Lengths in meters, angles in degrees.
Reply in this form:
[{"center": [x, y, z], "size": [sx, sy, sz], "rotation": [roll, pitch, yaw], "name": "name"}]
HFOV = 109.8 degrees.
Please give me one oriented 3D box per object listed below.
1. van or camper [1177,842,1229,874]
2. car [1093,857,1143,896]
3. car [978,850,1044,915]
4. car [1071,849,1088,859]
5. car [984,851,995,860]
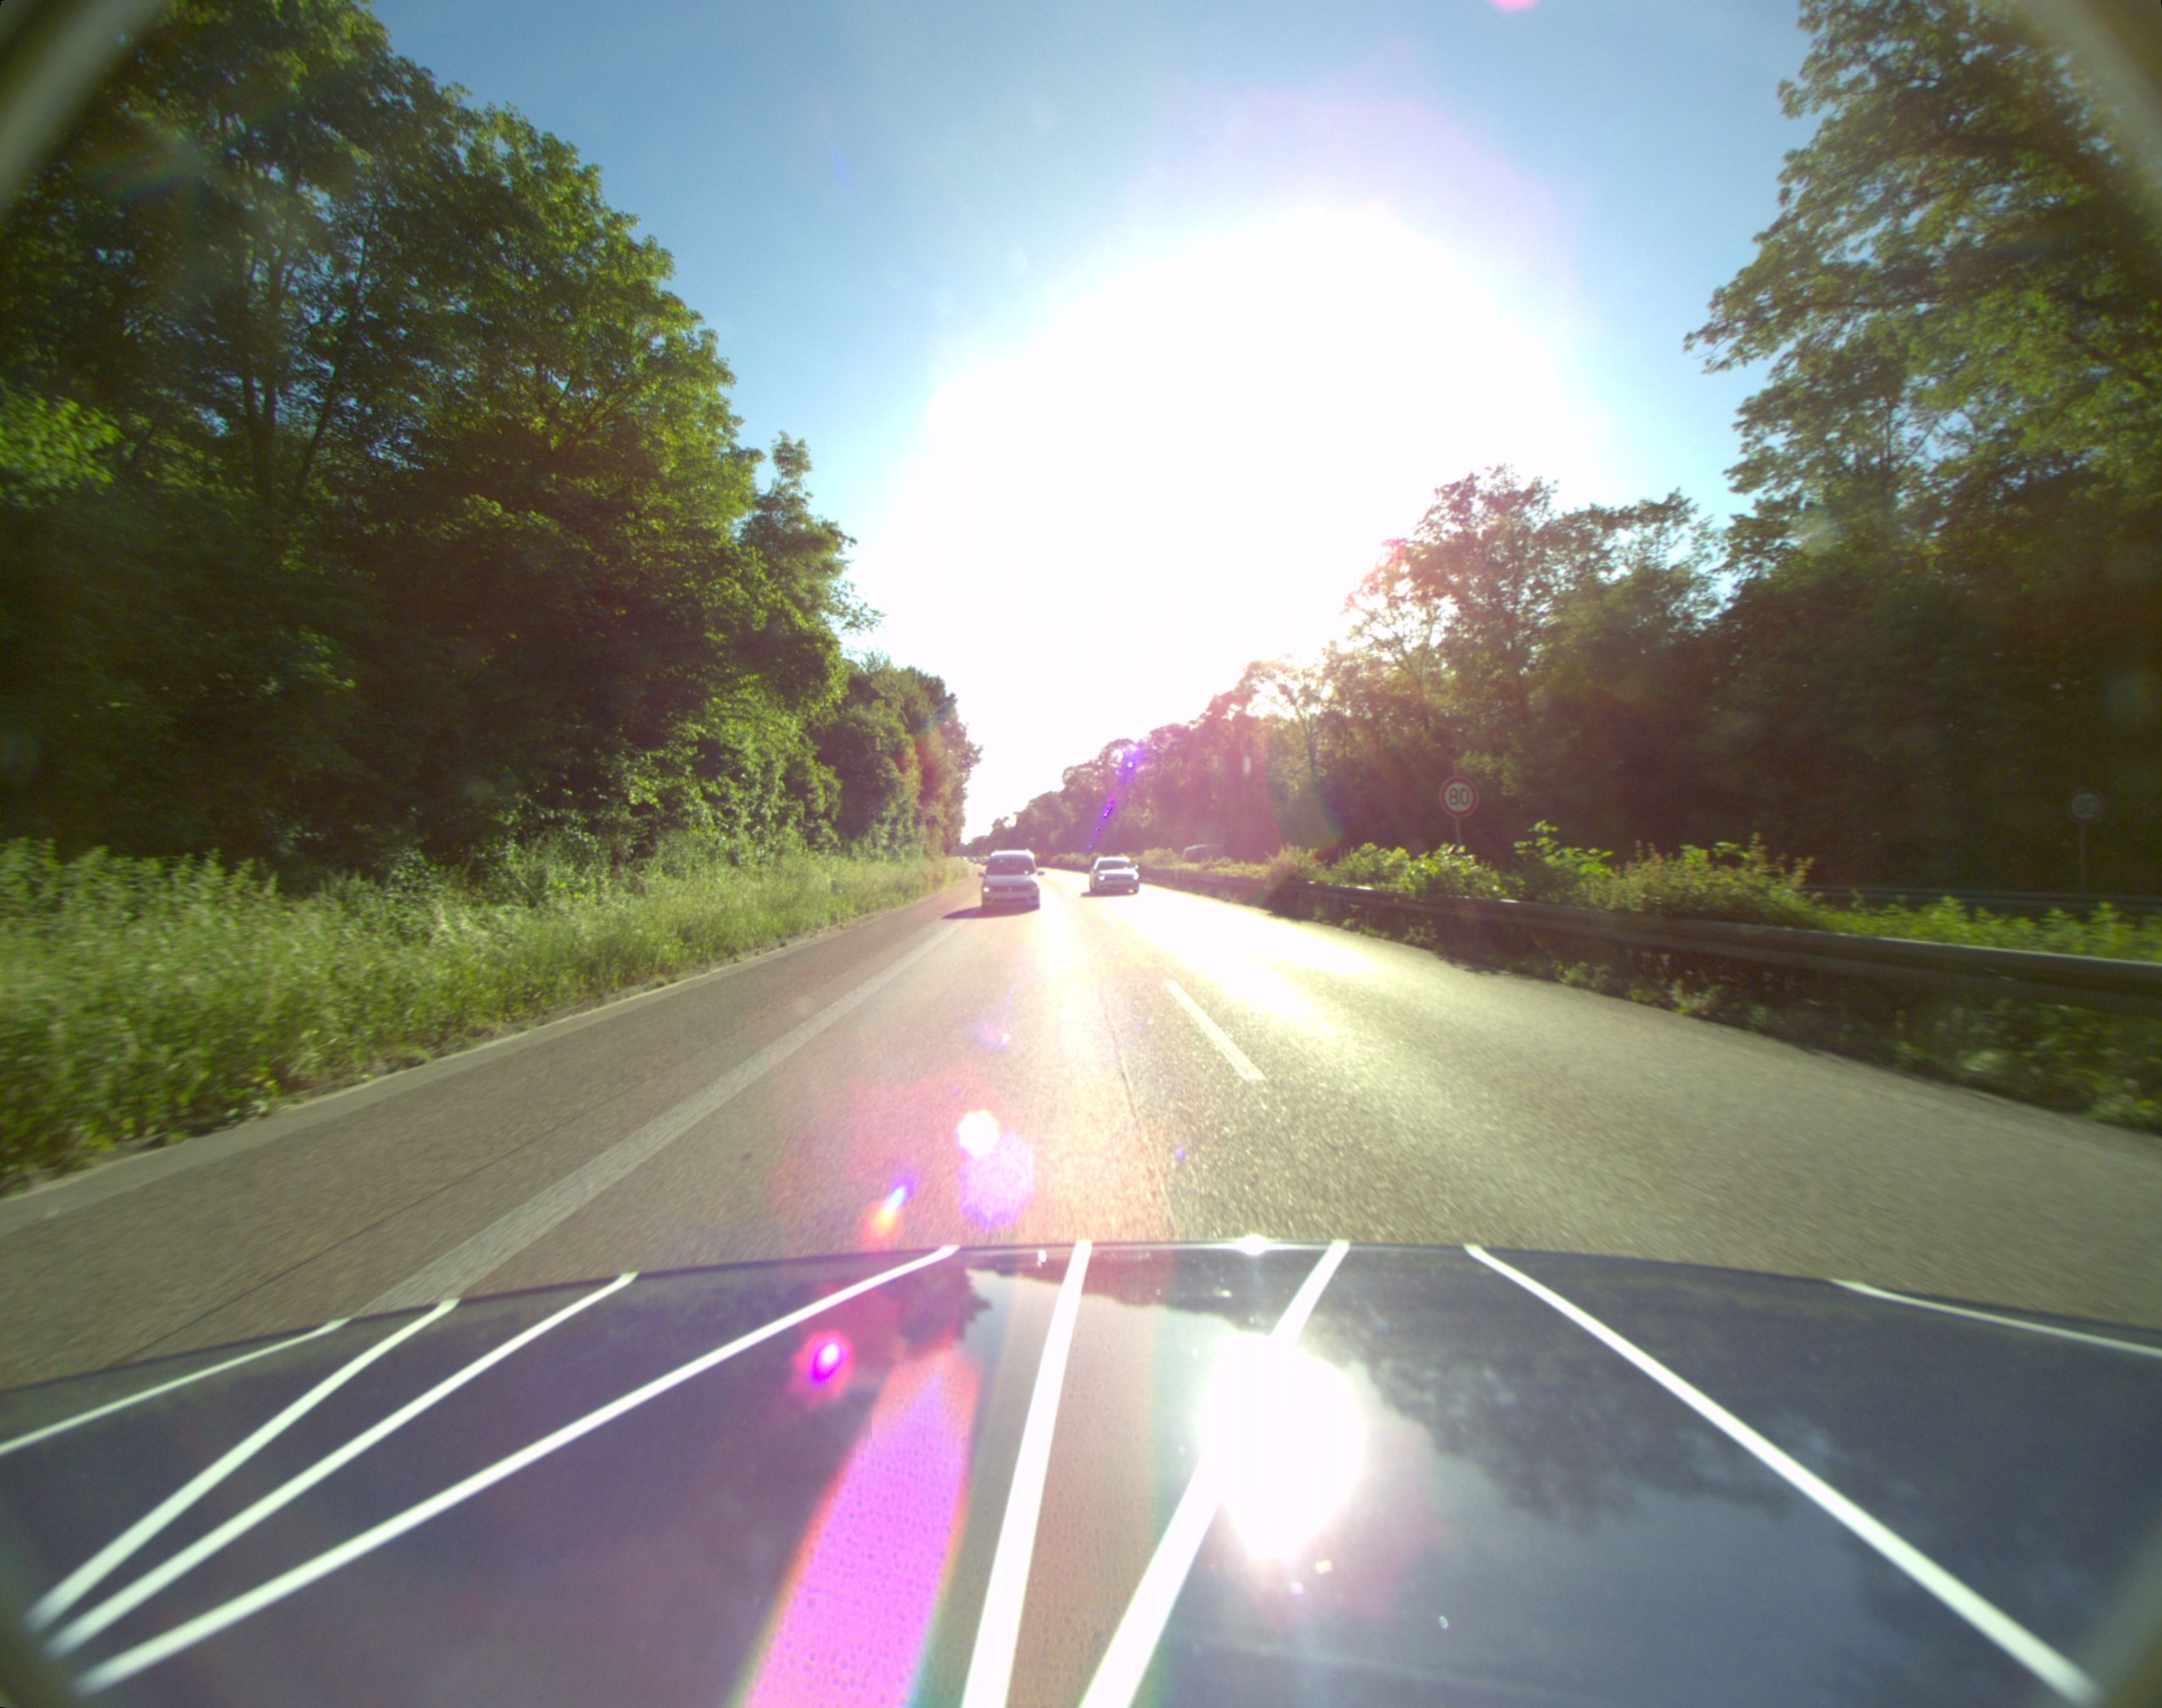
[{"center": [8.170, 0.259, 51.446], "size": [2.150, 2.002, 5.577], "rotation": [0, 0, -5], "name": "van or camper"}, {"center": [1.519, 0.903, 32.614], "size": [1.934, 1.499, 5.600], "rotation": [-1, -1, 1], "name": "car"}, {"center": [-2.136, 0.808, 24.321], "size": [1.800, 1.796, 4.831], "rotation": [-1, 0, -2], "name": "car"}, {"center": [-0.227, -0.020, 112.943], "size": [1.886, 1.505, 4.353], "rotation": [-2, 0, -9], "name": "car"}, {"center": [-17.173, 0.274, 142.348], "size": [1.935, 1.500, 5.080], "rotation": [-2, 3, -7], "name": "car"}]
